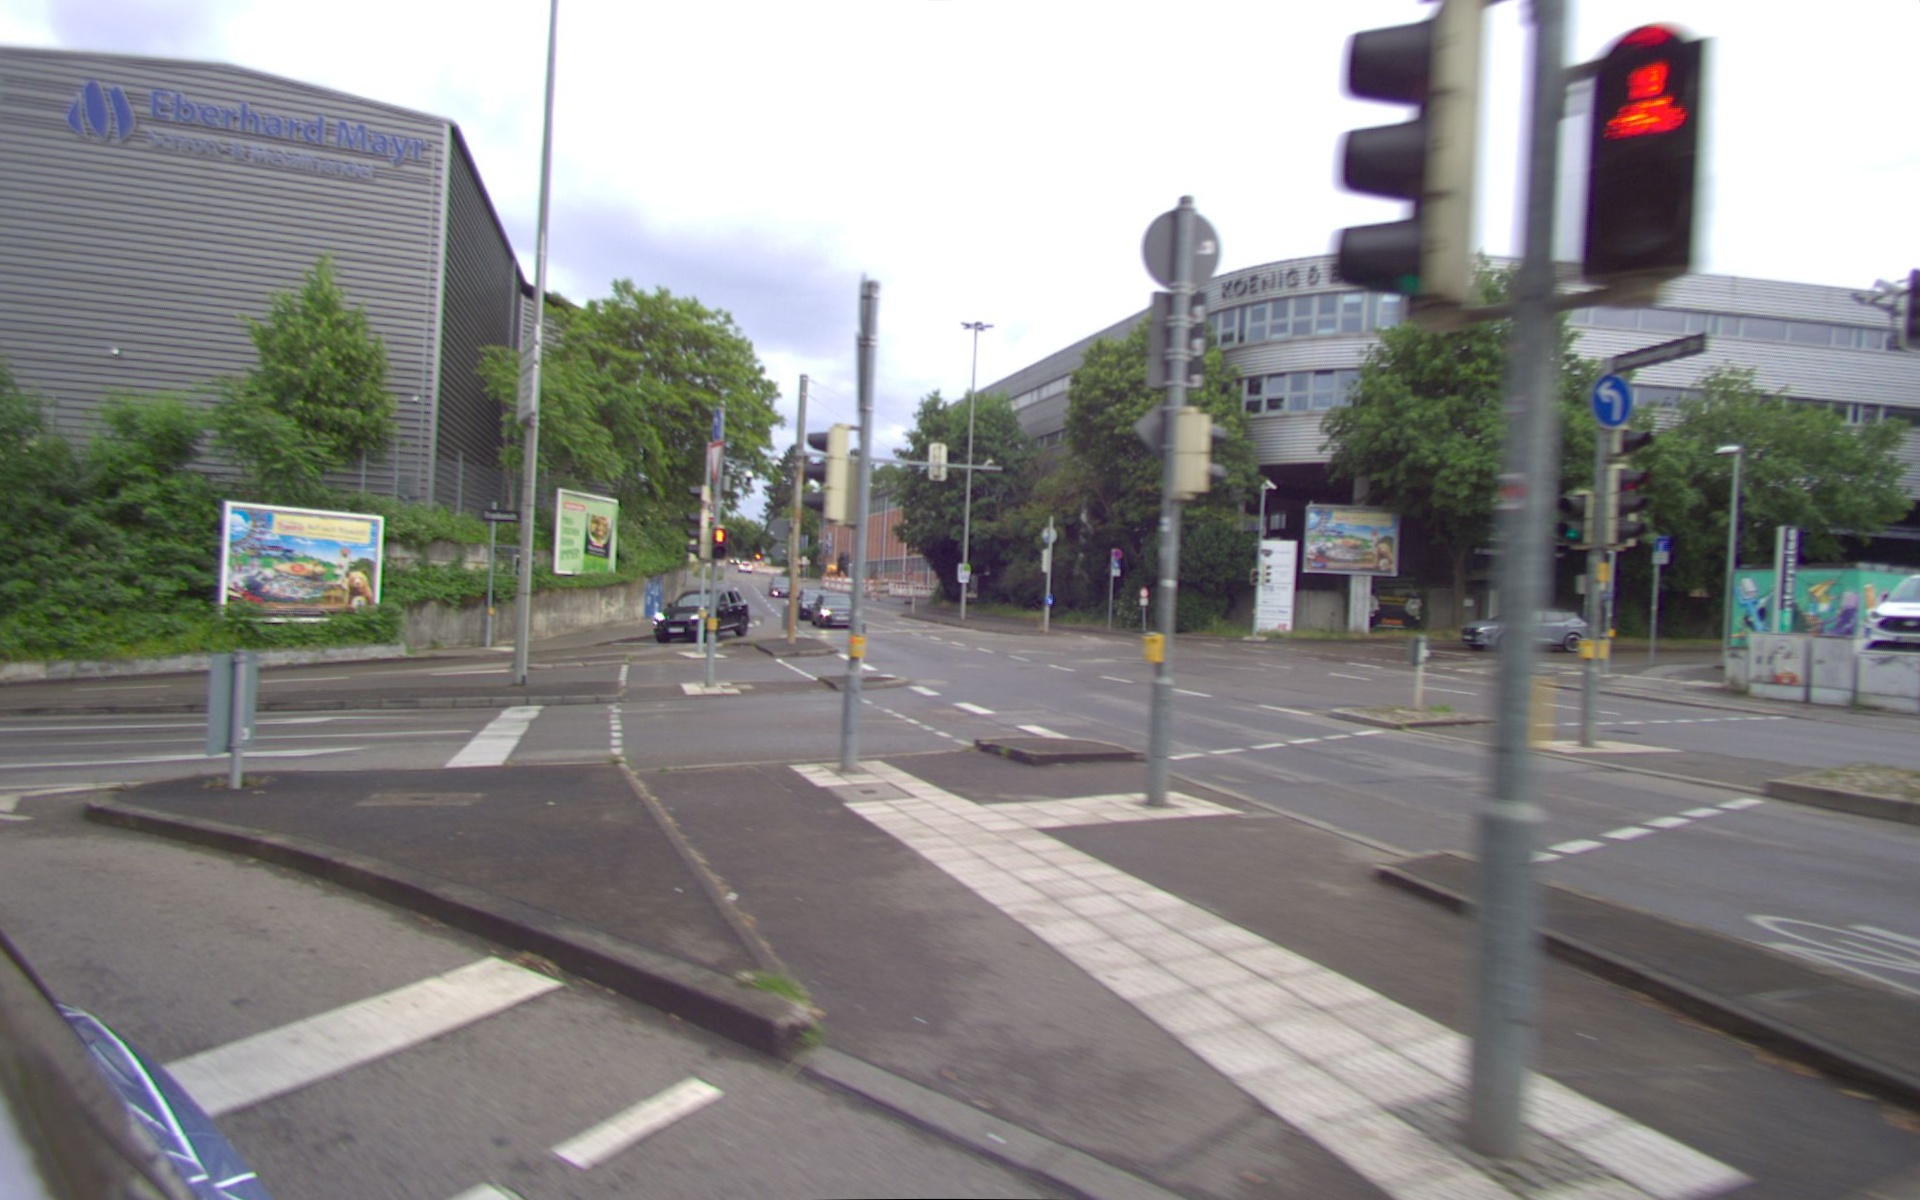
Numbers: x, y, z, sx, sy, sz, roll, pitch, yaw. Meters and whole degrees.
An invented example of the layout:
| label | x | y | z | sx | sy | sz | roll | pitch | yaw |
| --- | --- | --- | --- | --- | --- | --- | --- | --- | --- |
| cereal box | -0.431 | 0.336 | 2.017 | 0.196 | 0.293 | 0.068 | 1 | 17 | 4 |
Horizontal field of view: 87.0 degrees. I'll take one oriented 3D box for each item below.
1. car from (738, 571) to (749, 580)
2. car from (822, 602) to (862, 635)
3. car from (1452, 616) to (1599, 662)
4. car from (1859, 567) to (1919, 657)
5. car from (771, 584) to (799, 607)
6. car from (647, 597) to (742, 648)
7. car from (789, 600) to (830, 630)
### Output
| label | x | y | z | sx | sy | sz | roll | pitch | yaw |
| --- | --- | --- | --- | --- | --- | --- | --- | --- | --- |
| car | -32.017 | -3.607 | 149.892 | 1.509 | 1.324 | 3.239 | 3 | 0 | -13 |
| car | -4.972 | 0.737 | 42.955 | 1.573 | 1.269 | 3.761 | -1 | 1 | -5 |
| car | 20.913 | 1.424 | 37.529 | 4.315 | 1.612 | 2.036 | 0 | 0 | -4 |
| car | 21.836 | 0.359 | 21.394 | 5.279 | 1.815 | 2.228 | 3 | 0 | -24 |
| car | -13.451 | -0.354 | 77.844 | 1.709 | 1.589 | 3.720 | 3 | 0 | -15 |
| car | -8.868 | 0.718 | 34.164 | 1.927 | 1.555 | 4.208 | -1 | 1 | 2 |
| car | -7.422 | 0.704 | 50.180 | 1.727 | 1.380 | 3.761 | -1 | 1 | -5 |
